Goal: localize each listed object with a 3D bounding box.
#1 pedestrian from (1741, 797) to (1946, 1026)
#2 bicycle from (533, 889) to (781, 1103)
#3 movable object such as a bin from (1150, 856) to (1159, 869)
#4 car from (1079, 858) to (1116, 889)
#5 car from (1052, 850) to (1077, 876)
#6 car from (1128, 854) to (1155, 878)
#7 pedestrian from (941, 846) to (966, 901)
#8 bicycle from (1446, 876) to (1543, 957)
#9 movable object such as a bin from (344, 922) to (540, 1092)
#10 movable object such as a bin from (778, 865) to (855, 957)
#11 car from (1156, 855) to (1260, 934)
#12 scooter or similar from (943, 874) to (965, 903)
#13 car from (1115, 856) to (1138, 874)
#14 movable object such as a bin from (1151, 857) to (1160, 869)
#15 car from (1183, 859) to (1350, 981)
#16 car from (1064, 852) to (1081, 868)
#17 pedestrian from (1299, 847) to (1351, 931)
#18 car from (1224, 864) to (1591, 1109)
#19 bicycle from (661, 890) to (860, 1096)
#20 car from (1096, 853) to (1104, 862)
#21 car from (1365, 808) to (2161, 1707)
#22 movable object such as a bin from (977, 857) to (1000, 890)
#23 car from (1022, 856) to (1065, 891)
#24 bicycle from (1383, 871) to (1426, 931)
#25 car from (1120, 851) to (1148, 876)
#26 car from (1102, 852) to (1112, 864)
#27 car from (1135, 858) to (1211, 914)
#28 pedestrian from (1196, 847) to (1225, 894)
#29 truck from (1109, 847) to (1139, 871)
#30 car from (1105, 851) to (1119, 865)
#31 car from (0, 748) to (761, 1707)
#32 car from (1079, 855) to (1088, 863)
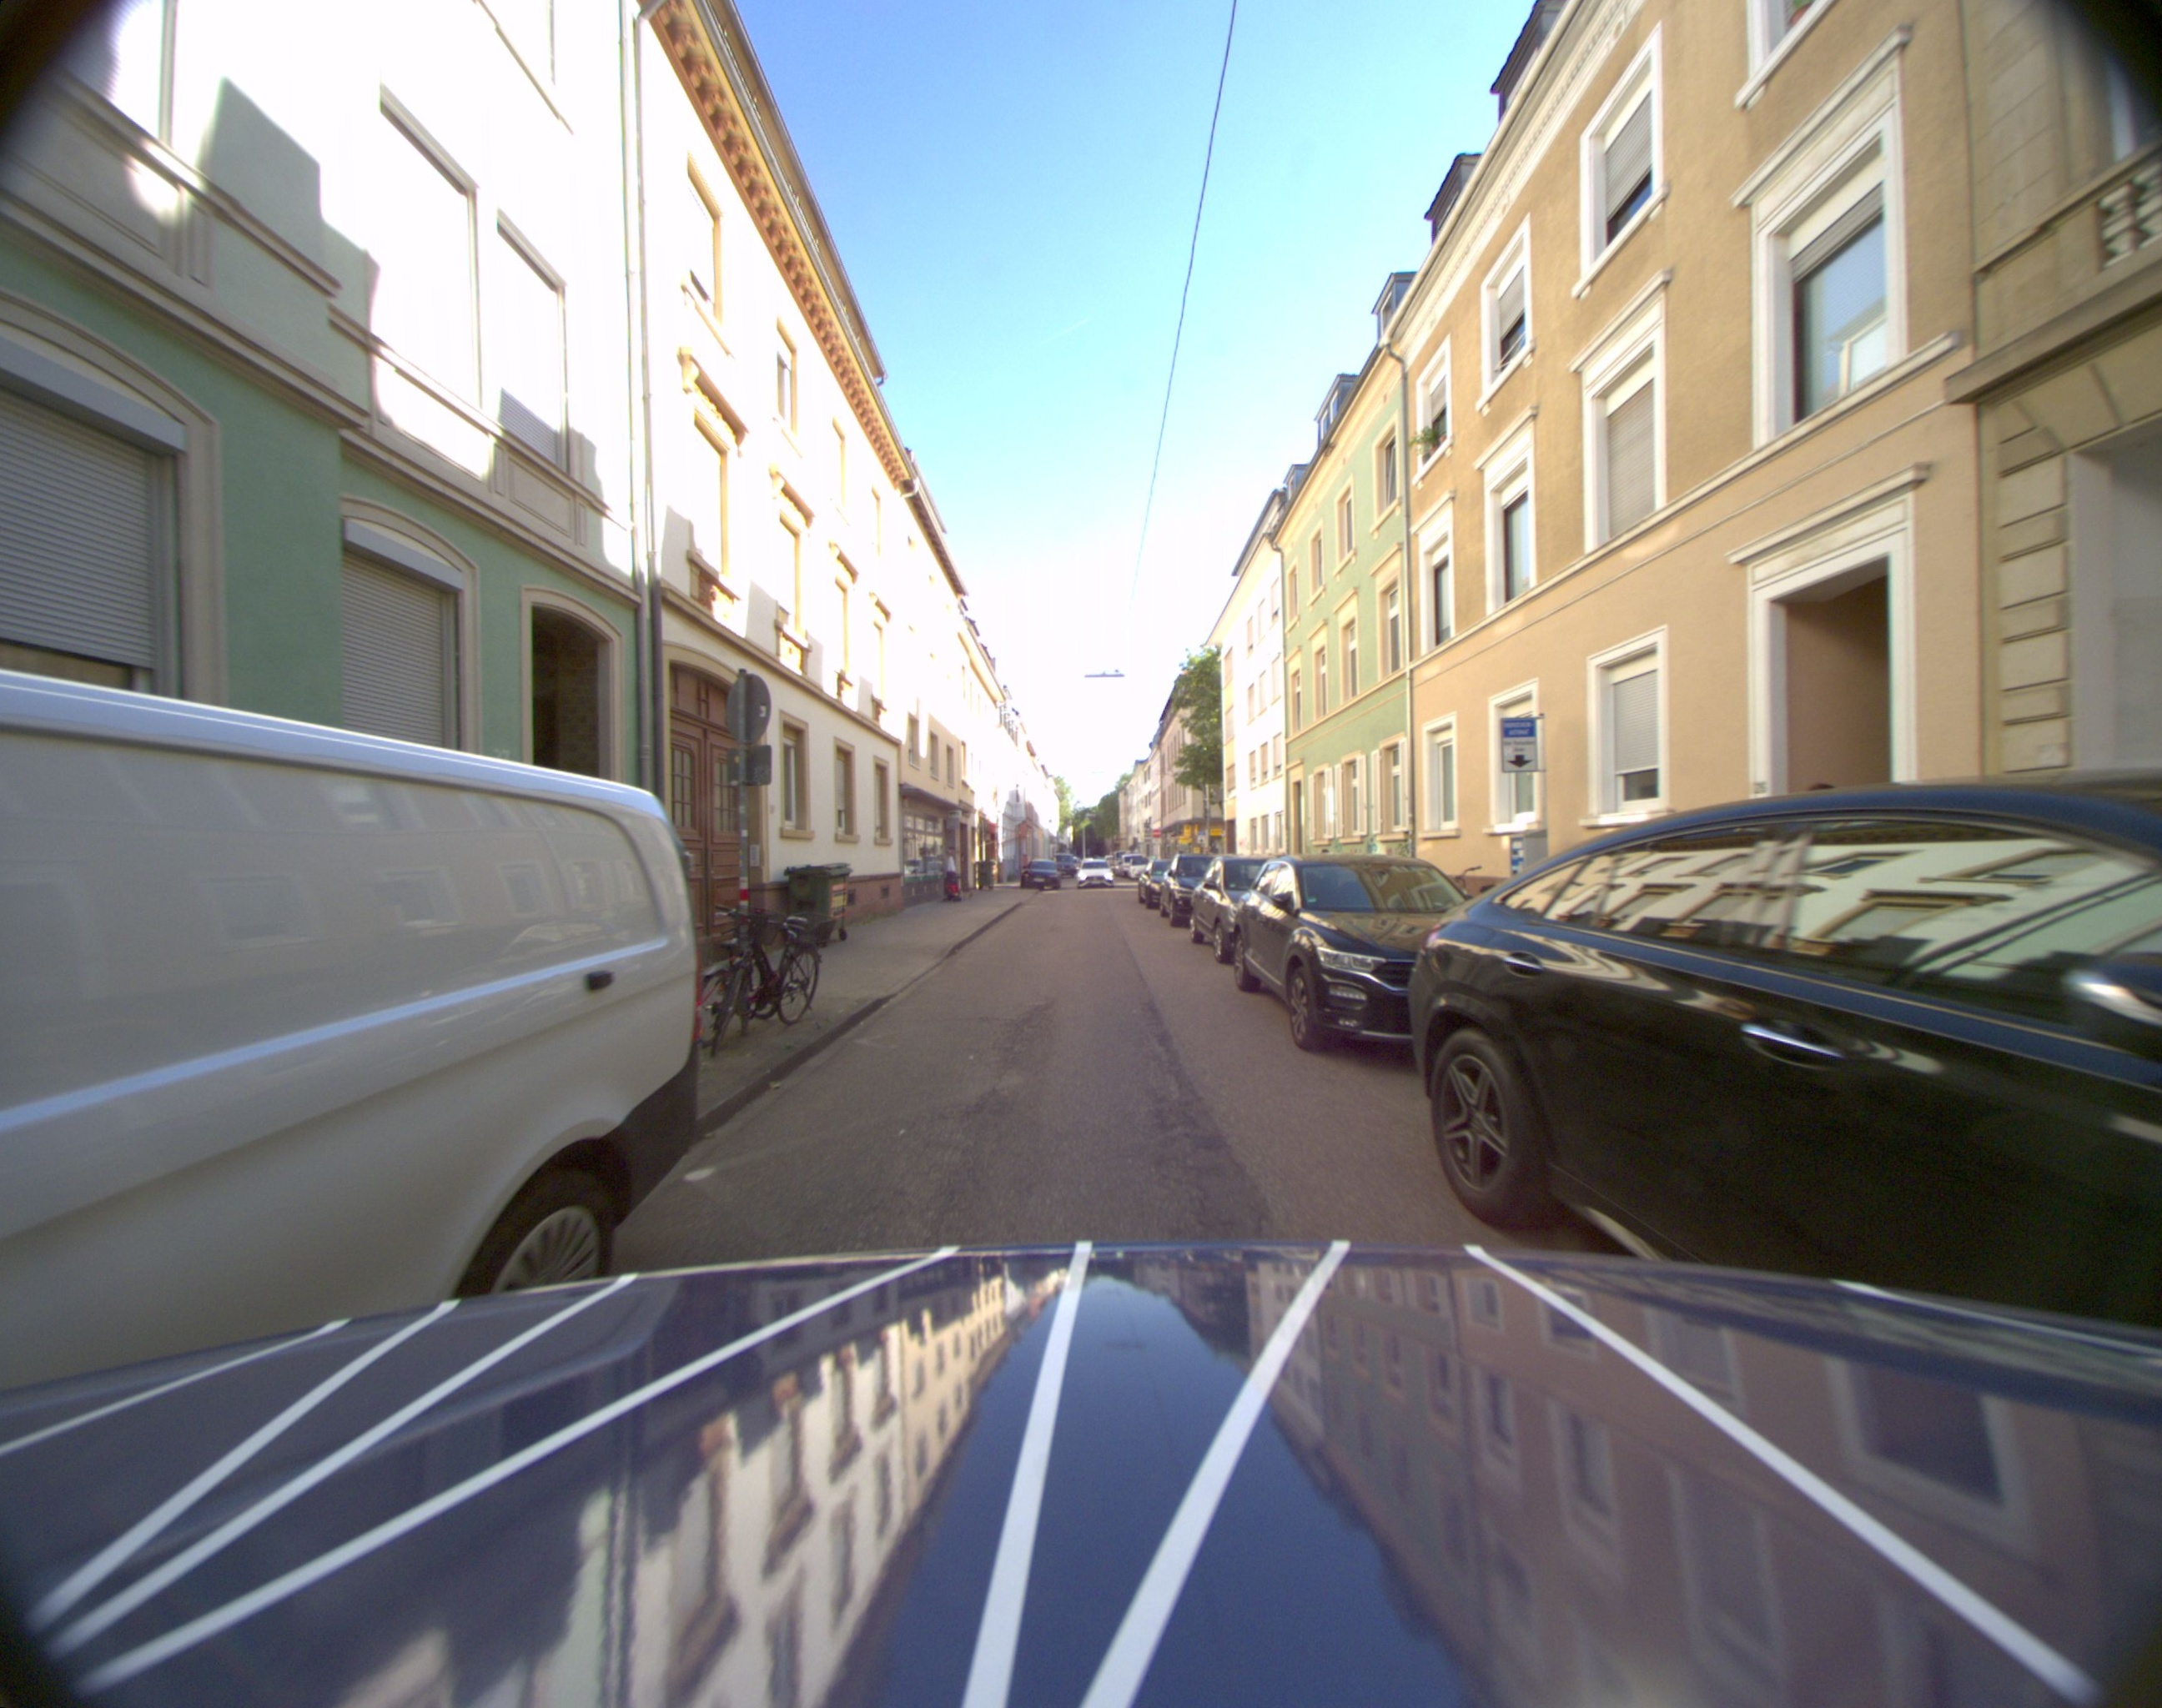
[{"bbox_3d":[6.508,0.453,6.544,0.868,1.826,0.883,-1,1,-3],"label":"pedestrian"},{"bbox_3d":[-3.179,0.965,6.003,0.576,1.263,2.200,1,0,5],"label":"bicycle"},{"bbox_3d":[7.168,0.818,74.270,0.759,1.184,0.686,-1,1,-3],"label":"movable object such as a bin"},{"bbox_3d":[0.824,0.939,38.654,1.761,1.399,4.021,-1,1,1],"label":"car"},{"bbox_3d":[-1.351,0.724,63.703,1.975,2.017,4.899,-2,0,0],"label":"car"},{"bbox_3d":[4.207,0.817,52.959,1.671,1.551,3.722,-1,0,1],"label":"car"},{"bbox_3d":[-4.357,0.668,25.912,0.651,1.849,0.747,1,0,-21],"label":"pedestrian"},{"bbox_3d":[6.202,0.896,11.510,0.403,1.050,1.836,-1,1,-2],"label":"bicycle"},{"bbox_3d":[-4.581,1.071,5.497,0.814,1.082,0.674,-1,1,3],"label":"movable object such as a bin"},{"bbox_3d":[-4.415,0.923,12.759,0.839,1.382,1.296,1,2,-1],"label":"movable object such as a bin"},{"bbox_3d":[2.800,0.833,17.702,1.748,1.605,4.603,0,0,1],"label":"car"},{"bbox_3d":[-4.167,1.125,24.950,0.491,0.939,0.869,0,0,7],"label":"scooter or similar"},{"bbox_3d":[3.883,0.925,65.182,1.669,1.514,4.488,1,0,0],"label":"car"},{"bbox_3d":[7.164,0.867,73.139,0.788,1.066,0.696,-1,1,-3],"label":"movable object such as a bin"},{"bbox_3d":[2.688,0.877,11.908,1.619,1.544,3.977,-1,0,0],"label":"car"},{"bbox_3d":[-1.058,0.760,94.484,1.898,1.875,4.457,-1,1,1],"label":"car"},{"bbox_3d":[5.163,0.719,16.106,0.766,1.704,0.883,-2,1,0],"label":"pedestrian"},{"bbox_3d":[2.533,0.891,7.142,1.717,1.522,4.367,0,0,2],"label":"car"},{"bbox_3d":[-2.520,1.006,6.318,0.576,1.313,2.200,0,0,4],"label":"bicycle"},{"bbox_3d":[4.108,0.743,163.788,1.786,1.674,4.021,-1,1,1],"label":"car"},{"bbox_3d":[2.512,0.791,1.622,1.941,1.726,5.142,0,0,1],"label":"car"},{"bbox_3d":[-4.196,0.862,34.570,0.748,1.428,1.372,2,1,2],"label":"movable object such as a bin"},{"bbox_3d":[-1.848,0.941,38.753,1.805,1.570,4.897,-2,0,1],"label":"car"},{"bbox_3d":[6.298,0.881,14.859,0.361,1.023,1.918,-1,1,10],"label":"bicycle"},{"bbox_3d":[4.069,0.726,59.178,1.771,1.887,4.808,1,0,-1],"label":"car"},{"bbox_3d":[4.572,0.749,134.138,1.585,1.971,4.068,-1,1,1],"label":"car"},{"bbox_3d":[2.725,0.904,23.564,1.718,1.480,4.851,1,0,0],"label":"car"},{"bbox_3d":[5.163,0.623,30.386,0.913,1.822,1.245,-1,1,0],"label":"pedestrian"},{"bbox_3d":[4.250,0.459,76.544,2.171,2.295,6.344,0,1,-5],"label":"truck"},{"bbox_3d":[4.671,0.611,114.439,1.913,2.076,4.696,-1,0,1],"label":"car"},{"bbox_3d":[-2.453,0.753,0.542,1.988,1.873,5.599,2,0,0],"label":"car"},{"bbox_3d":[0.598,0.969,157.556,1.857,1.620,4.072,-1,1,1],"label":"car"}]
